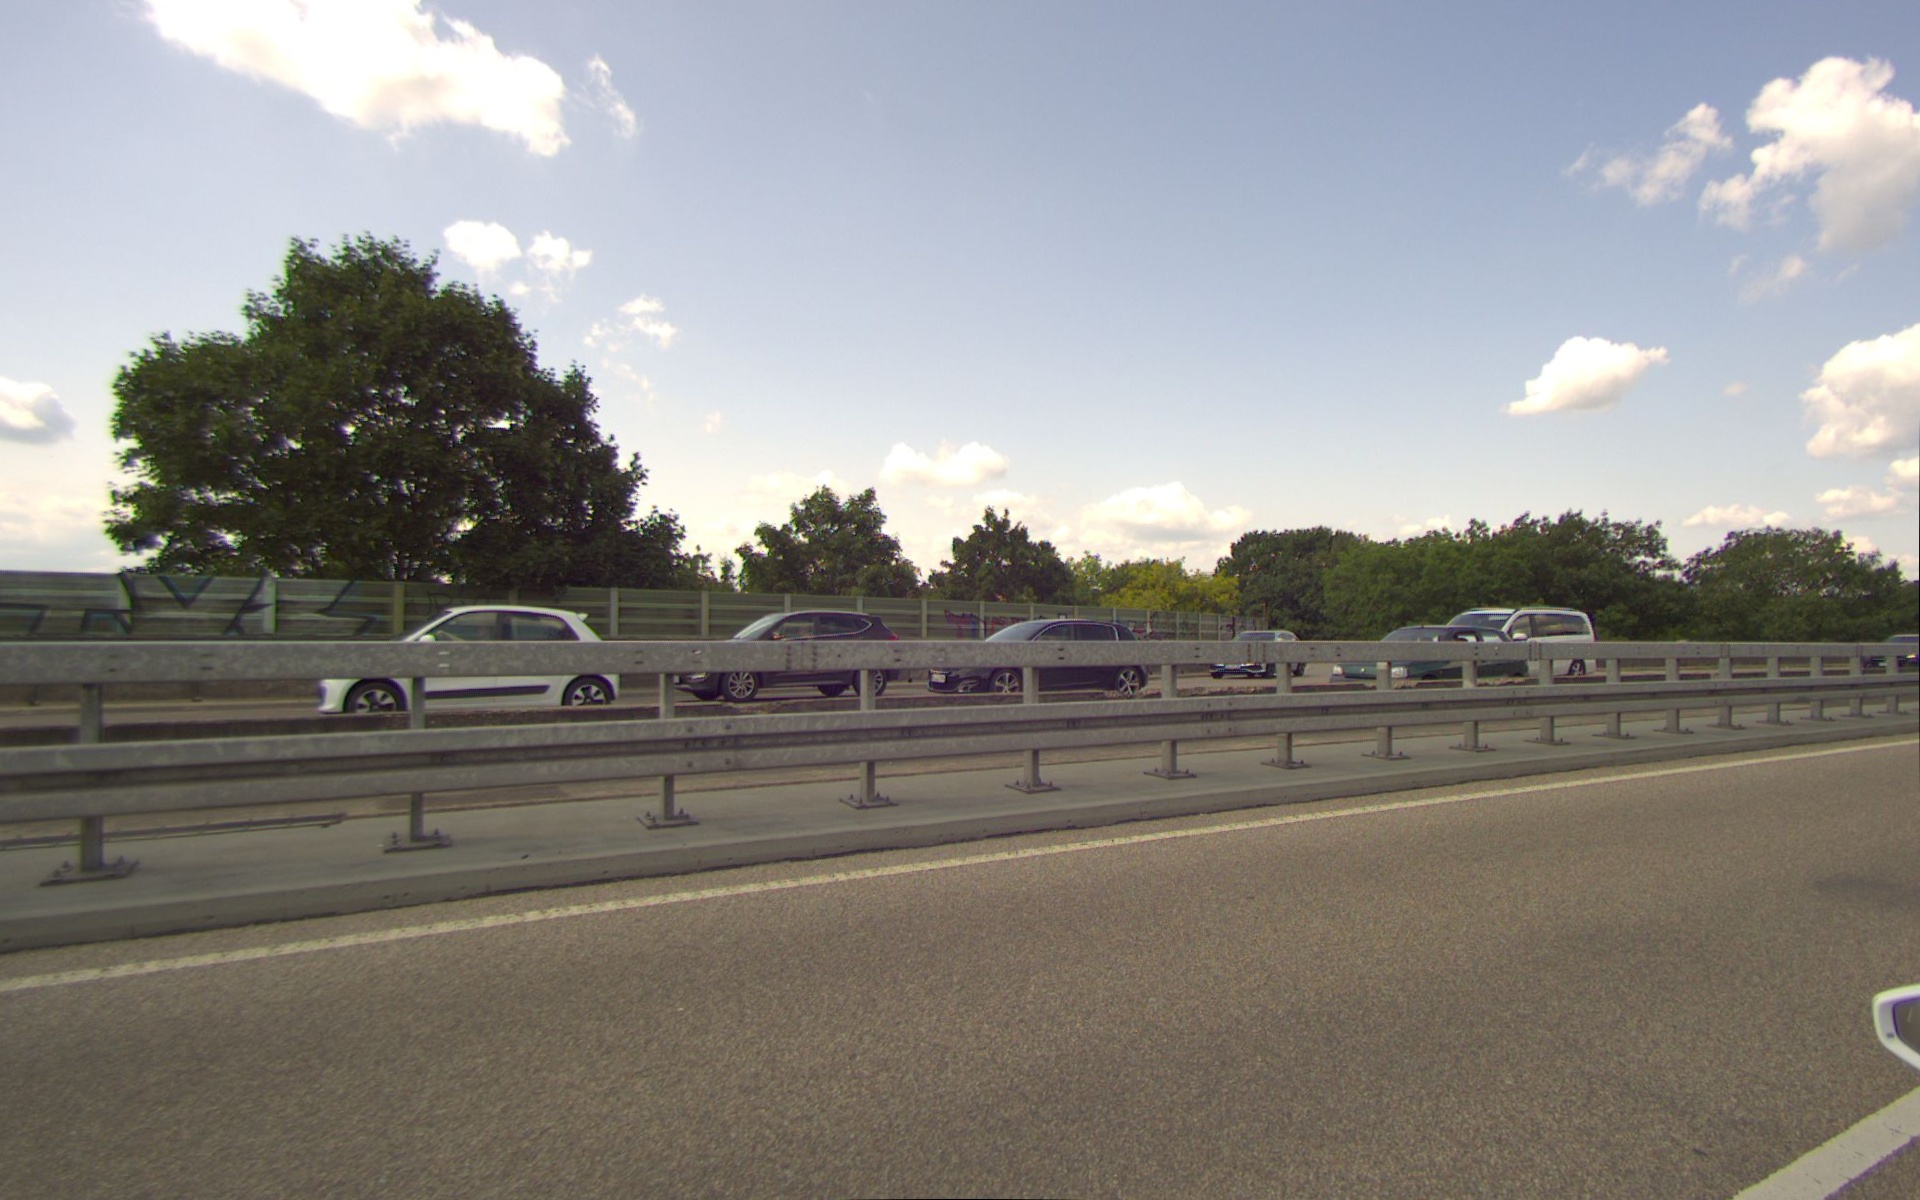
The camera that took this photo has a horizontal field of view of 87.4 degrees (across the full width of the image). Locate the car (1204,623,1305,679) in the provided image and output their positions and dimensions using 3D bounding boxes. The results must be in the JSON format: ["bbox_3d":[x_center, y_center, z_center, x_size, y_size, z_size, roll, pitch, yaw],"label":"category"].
[{"bbox_3d":[9.306,1.631,31.562,1.897,1.594,4.273,-4,-5,32],"label":"car"}]

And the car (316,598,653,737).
[{"bbox_3d":[-6.346,0.841,13.562,3.843,1.595,1.914,2,0,-31],"label":"car"}]

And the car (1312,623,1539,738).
[{"bbox_3d":[7.844,1.259,16.874,3.699,1.644,1.718,0,1,-32],"label":"car"}]

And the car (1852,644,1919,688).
[{"bbox_3d":[34.951,2.404,37.198,4.002,1.408,1.774,0,1,-32],"label":"car"}]

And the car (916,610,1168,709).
[{"bbox_3d":[1.499,1.041,18.107,4.194,1.594,1.915,2,-2,-29],"label":"car"}]

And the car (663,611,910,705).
[{"bbox_3d":[-3.258,1.040,19.098,4.235,1.595,1.914,1,-1,-32],"label":"car"}]

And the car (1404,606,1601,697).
[{"bbox_3d":[13.265,1.164,24.475,5.135,1.951,1.949,1,2,-33],"label":"car"}]
